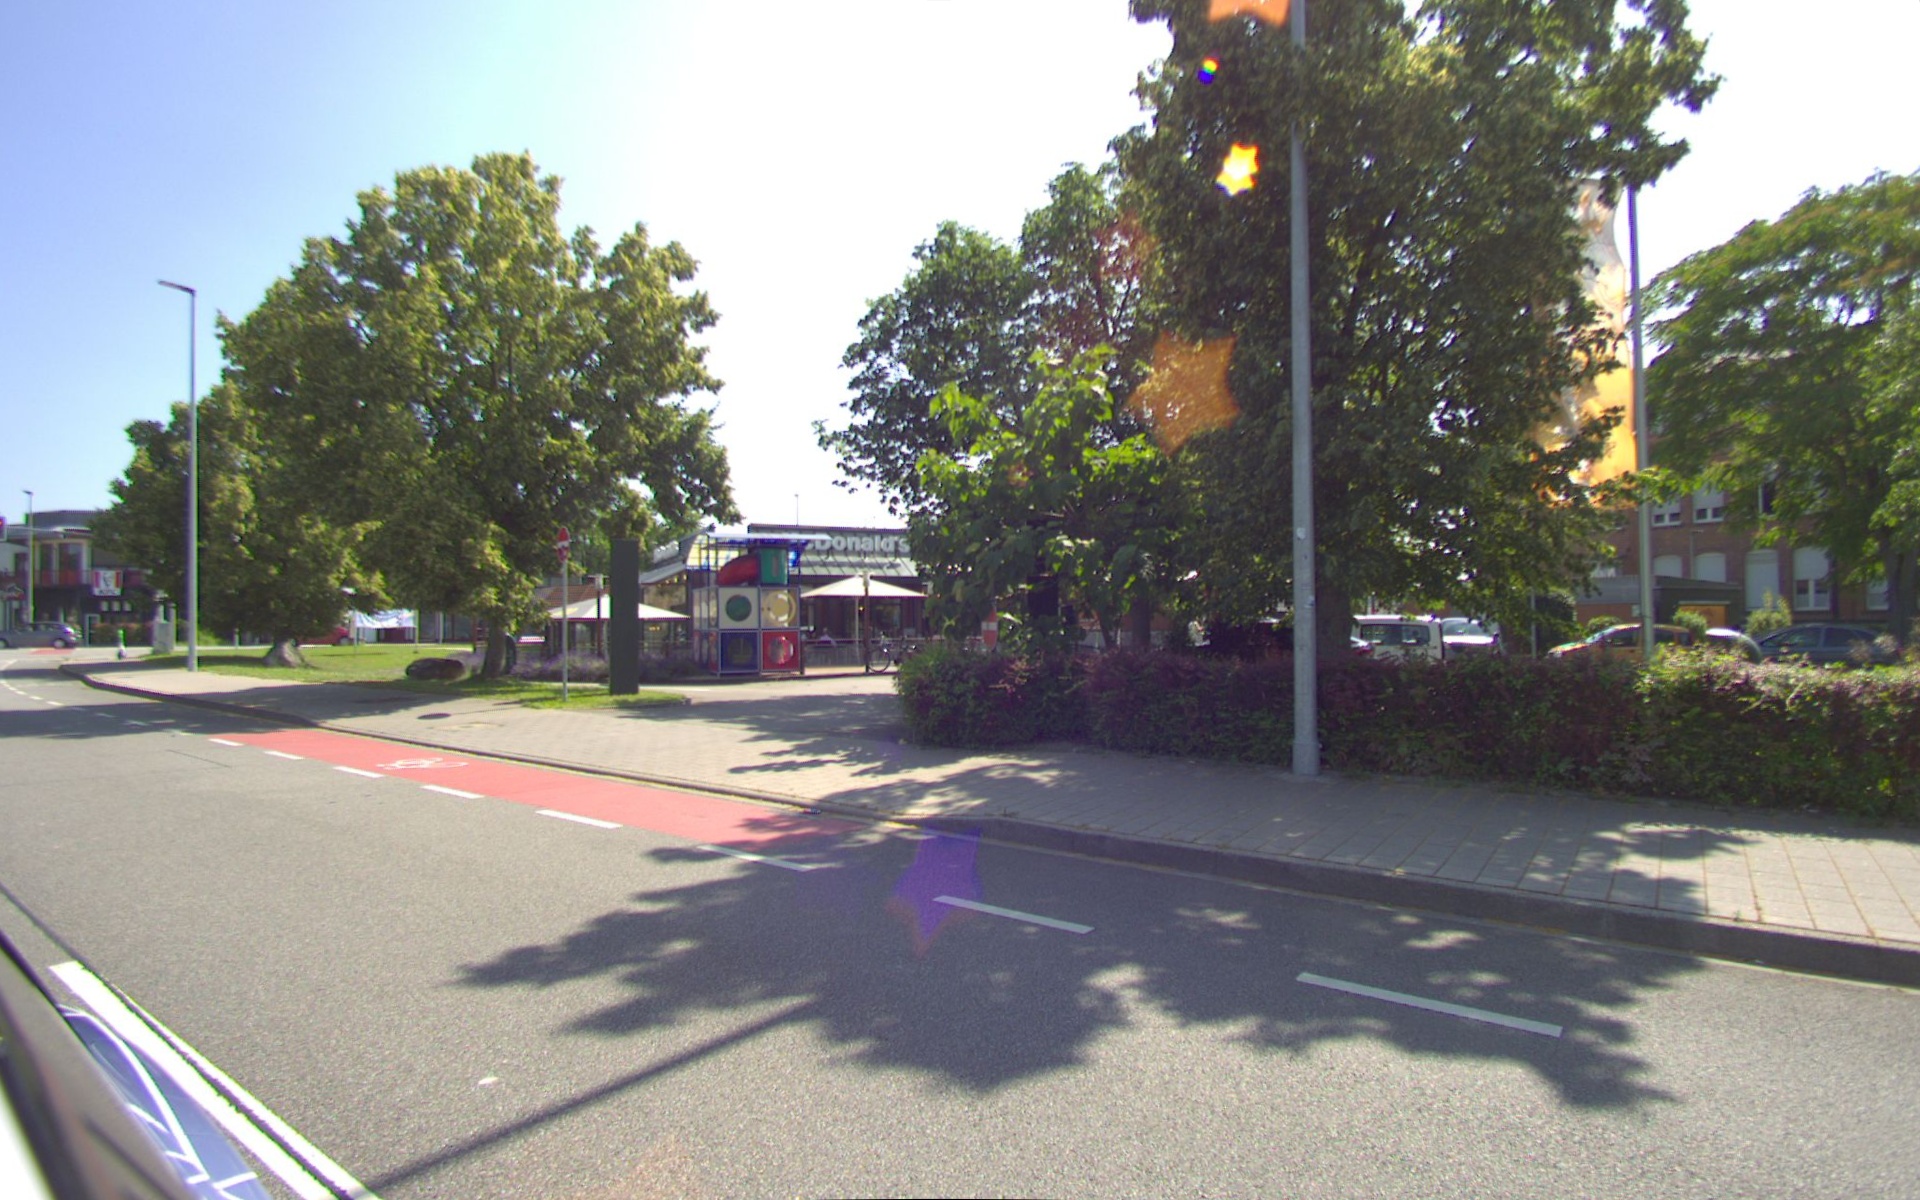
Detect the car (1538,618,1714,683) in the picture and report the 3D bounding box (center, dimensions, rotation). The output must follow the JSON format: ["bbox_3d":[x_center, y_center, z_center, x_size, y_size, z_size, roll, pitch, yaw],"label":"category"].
[{"bbox_3d":[17.910,1.329,27.418,3.700,1.644,1.656,-1,-1,23],"label":"car"}]

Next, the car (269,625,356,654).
[{"bbox_3d":[-39.508,2.385,61.864,4.295,1.638,1.838,0,1,-25],"label":"car"}]

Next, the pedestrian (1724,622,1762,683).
[{"bbox_3d":[20.920,1.396,27.041,0.687,1.602,0.504,-1,-1,26],"label":"pedestrian"}]

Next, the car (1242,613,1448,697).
[{"bbox_3d":[8.720,1.227,23.274,4.187,1.812,1.752,-1,-1,14],"label":"car"}]

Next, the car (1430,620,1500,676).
[{"bbox_3d":[15.108,1.391,30.405,1.610,1.543,3.585,-1,-1,23],"label":"car"}]

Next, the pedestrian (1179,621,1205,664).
[{"bbox_3d":[8.995,1.631,39.279,0.829,1.650,0.782,-1,-2,25],"label":"pedestrian"}]

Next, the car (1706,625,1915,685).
[{"bbox_3d":[23.429,1.482,28.107,4.156,1.529,1.746,-1,-1,31],"label":"car"}]

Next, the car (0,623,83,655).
[{"bbox_3d":[-51.464,2.138,55.836,4.295,1.638,1.838,0,1,-25],"label":"car"}]

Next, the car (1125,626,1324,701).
[{"bbox_3d":[5.612,1.312,21.742,3.962,1.505,1.648,0,-1,14],"label":"car"}]

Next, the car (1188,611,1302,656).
[{"bbox_3d":[11.084,1.293,39.387,3.979,1.670,1.939,-1,-1,26],"label":"car"}]

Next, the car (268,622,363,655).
[{"bbox_3d":[-35.865,2.112,56.452,4.295,1.691,1.838,0,1,-27],"label":"car"}]

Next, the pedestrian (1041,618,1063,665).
[{"bbox_3d":[3.121,1.413,34.390,0.593,1.579,0.567,-1,-1,24],"label":"pedestrian"}]

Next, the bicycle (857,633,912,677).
[{"bbox_3d":[-2.210,1.611,29.696,1.584,1.195,0.311,-2,1,-22],"label":"bicycle"}]

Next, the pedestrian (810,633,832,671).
[{"bbox_3d":[-4.721,1.758,34.425,0.543,1.219,0.594,-4,3,-19],"label":"pedestrian"}]
